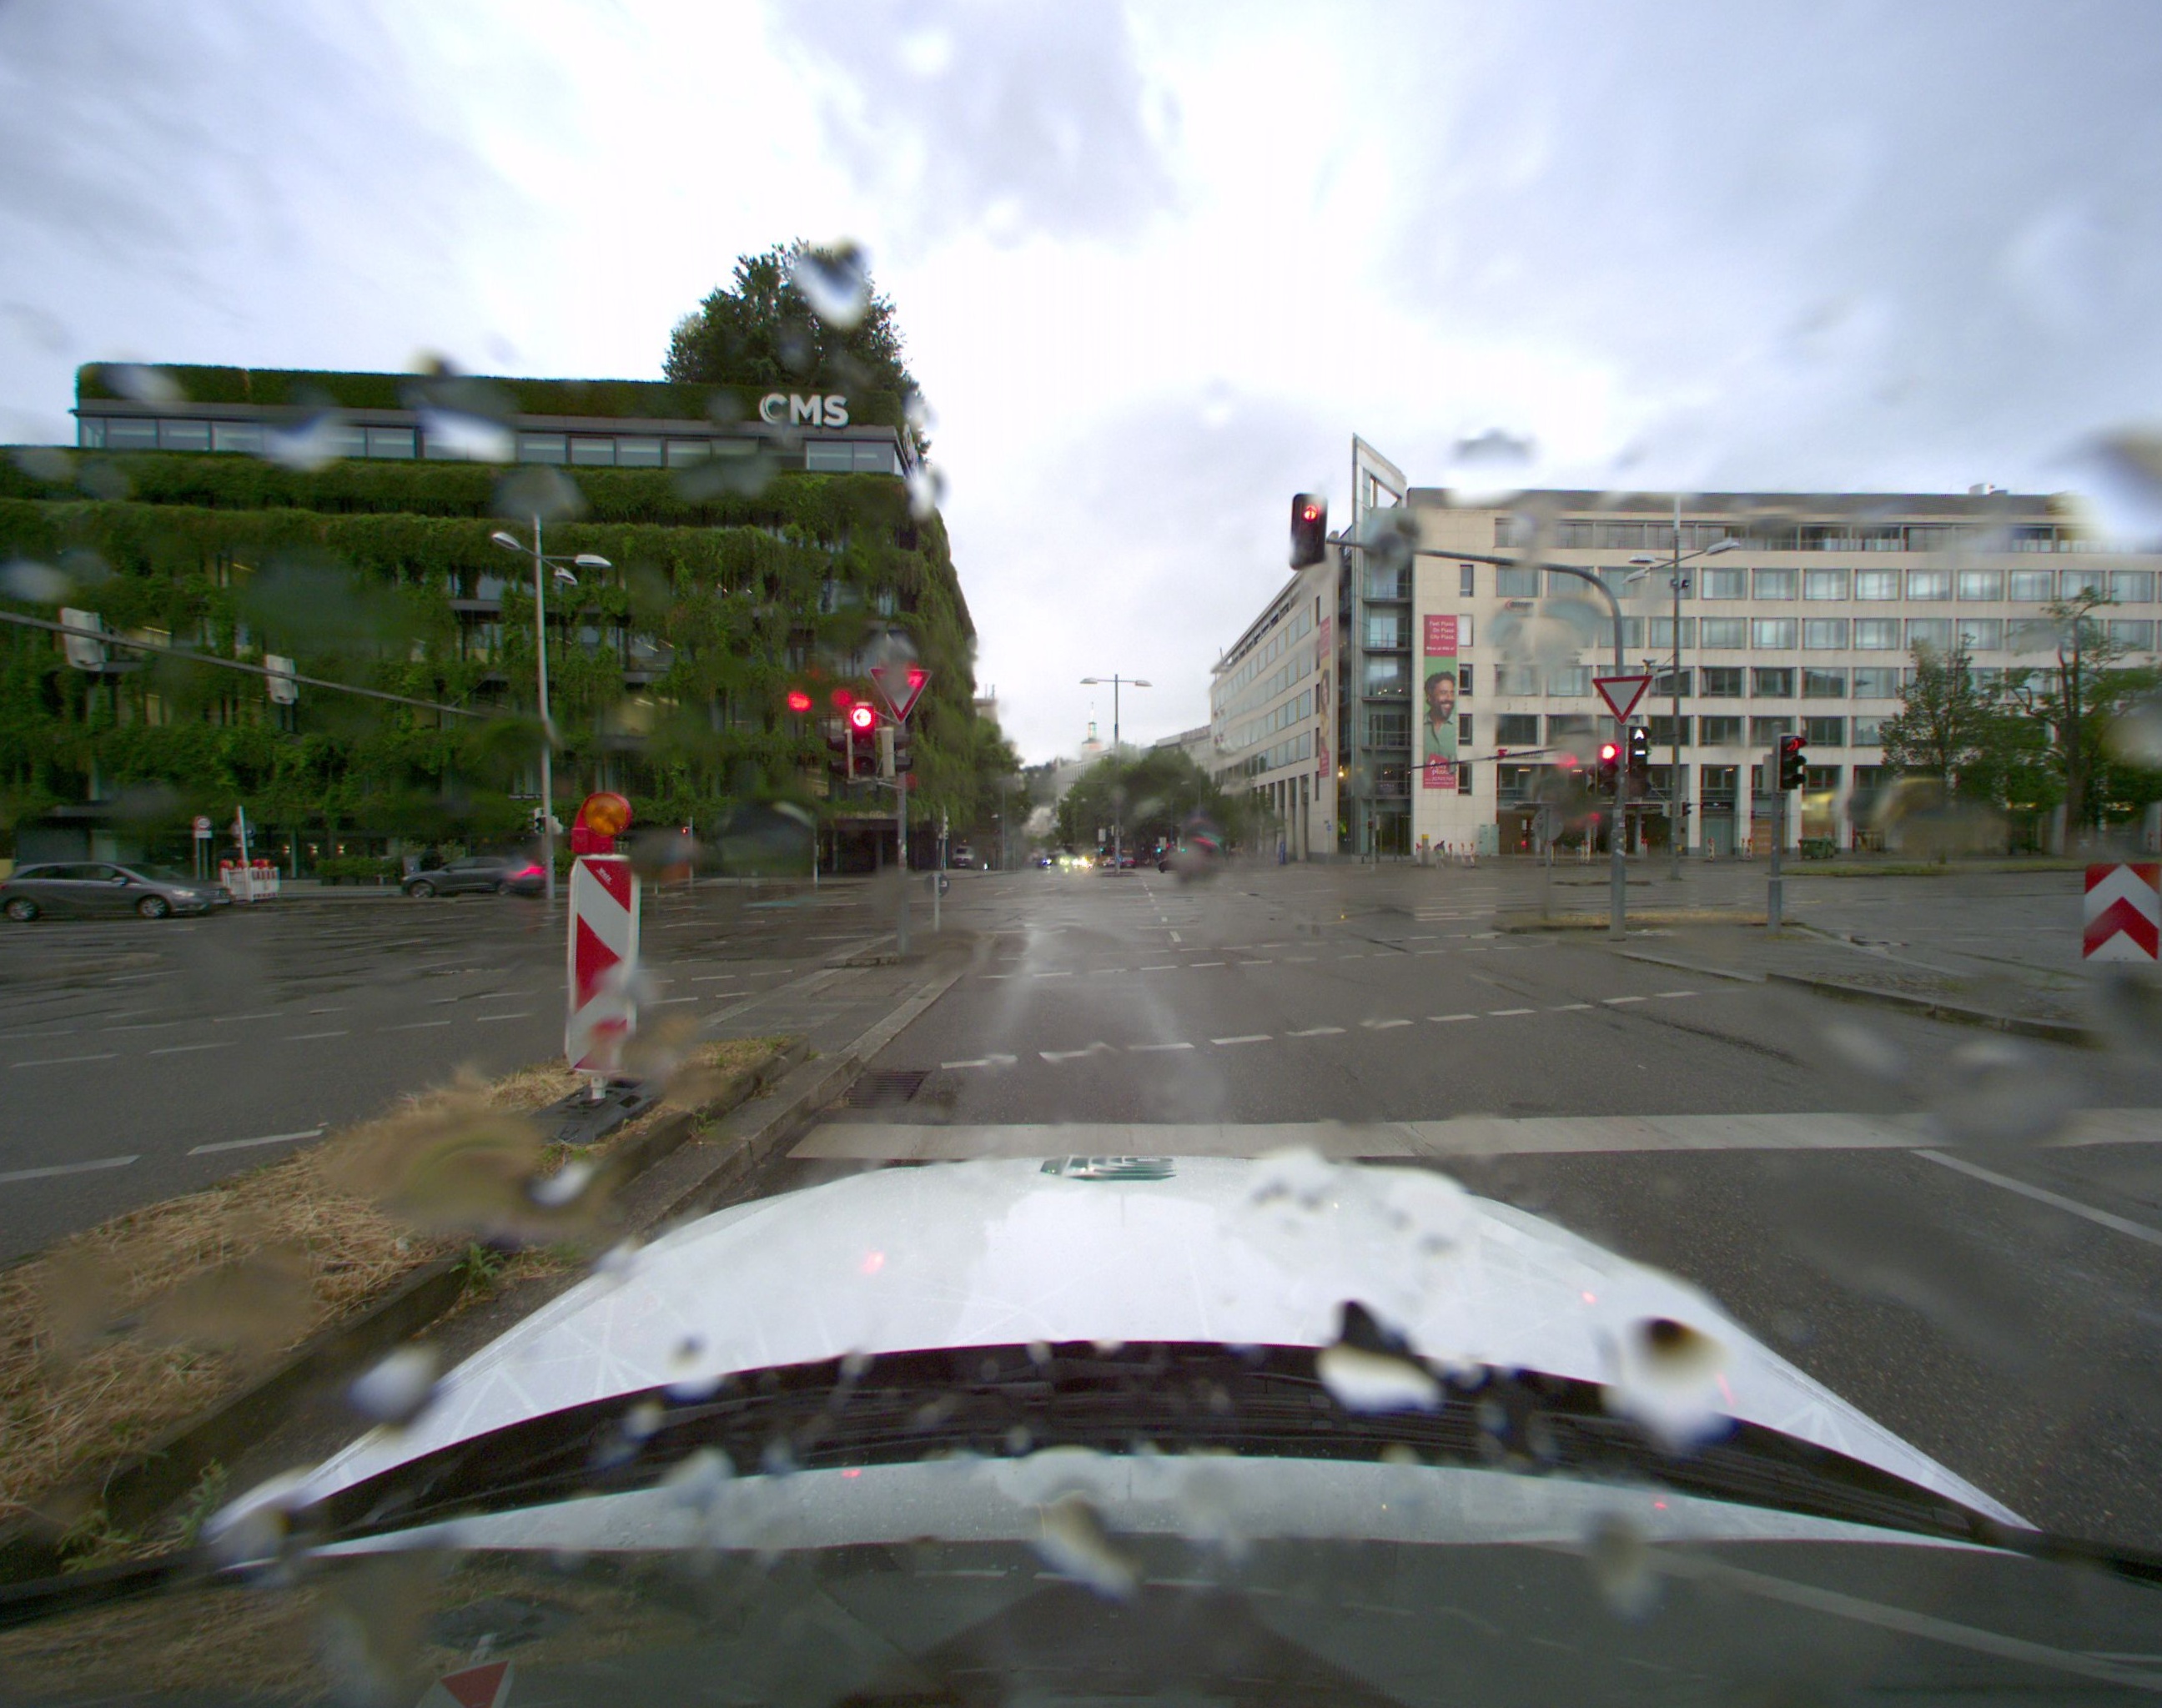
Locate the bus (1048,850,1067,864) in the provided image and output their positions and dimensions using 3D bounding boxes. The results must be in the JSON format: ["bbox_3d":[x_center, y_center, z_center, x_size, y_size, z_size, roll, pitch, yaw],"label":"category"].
[{"bbox_3d":[-5.246,0.635,180.712,2.631,2.995,7.415,-1,0,-13],"label":"bus"}]

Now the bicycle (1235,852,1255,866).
[{"bbox_3d":[14.940,0.443,74.137,1.770,1.194,0.587,0,-1,3],"label":"bicycle"}]

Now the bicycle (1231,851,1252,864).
[{"bbox_3d":[14.297,0.328,72.601,1.770,1.194,0.587,0,-1,3],"label":"bicycle"}]

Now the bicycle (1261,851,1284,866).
[{"bbox_3d":[15.203,0.363,64.642,1.607,1.194,0.590,-1,-1,27],"label":"bicycle"}]

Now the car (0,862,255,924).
[{"bbox_3d":[-26.118,1.003,22.058,4.901,1.488,1.924,-1,0,-15],"label":"car"}]

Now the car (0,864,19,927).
[{"bbox_3d":[-27.335,1.023,18.301,3.981,1.475,1.996,-1,0,-6],"label":"car"}]

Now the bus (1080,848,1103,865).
[{"bbox_3d":[1.983,0.446,153.277,2.631,2.995,7.415,-1,0,-13],"label":"bus"}]

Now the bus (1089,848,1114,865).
[{"bbox_3d":[3.676,0.414,146.084,2.631,2.995,7.415,-1,0,-13],"label":"bus"}]

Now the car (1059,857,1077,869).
[{"bbox_3d":[-2.118,1.428,130.584,2.163,1.765,4.816,-2,0,-9],"label":"car"}]

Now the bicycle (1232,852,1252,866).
[{"bbox_3d":[14.473,0.440,73.231,1.770,1.194,0.587,0,-1,3],"label":"bicycle"}]

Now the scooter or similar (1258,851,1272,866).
[{"bbox_3d":[14.422,0.364,63.976,0.951,1.194,0.458,-1,-1,42],"label":"scooter or similar"}]

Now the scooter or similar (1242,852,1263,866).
[{"bbox_3d":[14.910,0.416,70.793,1.770,1.194,0.587,0,-1,3],"label":"scooter or similar"}]

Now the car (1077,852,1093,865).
[{"bbox_3d":[0.494,0.629,114.907,2.158,1.765,5.109,0,-1,-1],"label":"car"}]

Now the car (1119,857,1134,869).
[{"bbox_3d":[5.859,1.183,104.505,1.775,1.508,4.001,0,-1,2],"label":"car"}]

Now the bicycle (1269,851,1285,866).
[{"bbox_3d":[16.053,0.373,66.733,0.579,1.194,1.794,-1,-1,40],"label":"bicycle"}]

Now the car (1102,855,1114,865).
[{"bbox_3d":[4.225,0.956,127.652,1.775,1.508,4.001,0,-1,2],"label":"car"}]

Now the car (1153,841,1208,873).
[{"bbox_3d":[6.597,0.199,54.457,1.550,2.014,4.632,0,-1,-23],"label":"car"}]

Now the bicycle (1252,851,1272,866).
[{"bbox_3d":[14.731,0.380,66.207,0.588,1.194,1.768,0,-1,-26],"label":"bicycle"}]

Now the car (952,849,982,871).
[{"bbox_3d":[-9.557,0.523,68.729,1.863,1.839,4.001,0,-1,2],"label":"car"}]

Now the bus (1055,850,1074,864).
[{"bbox_3d":[-3.549,0.655,173.569,2.631,2.995,7.294,-1,0,-13],"label":"bus"}]
